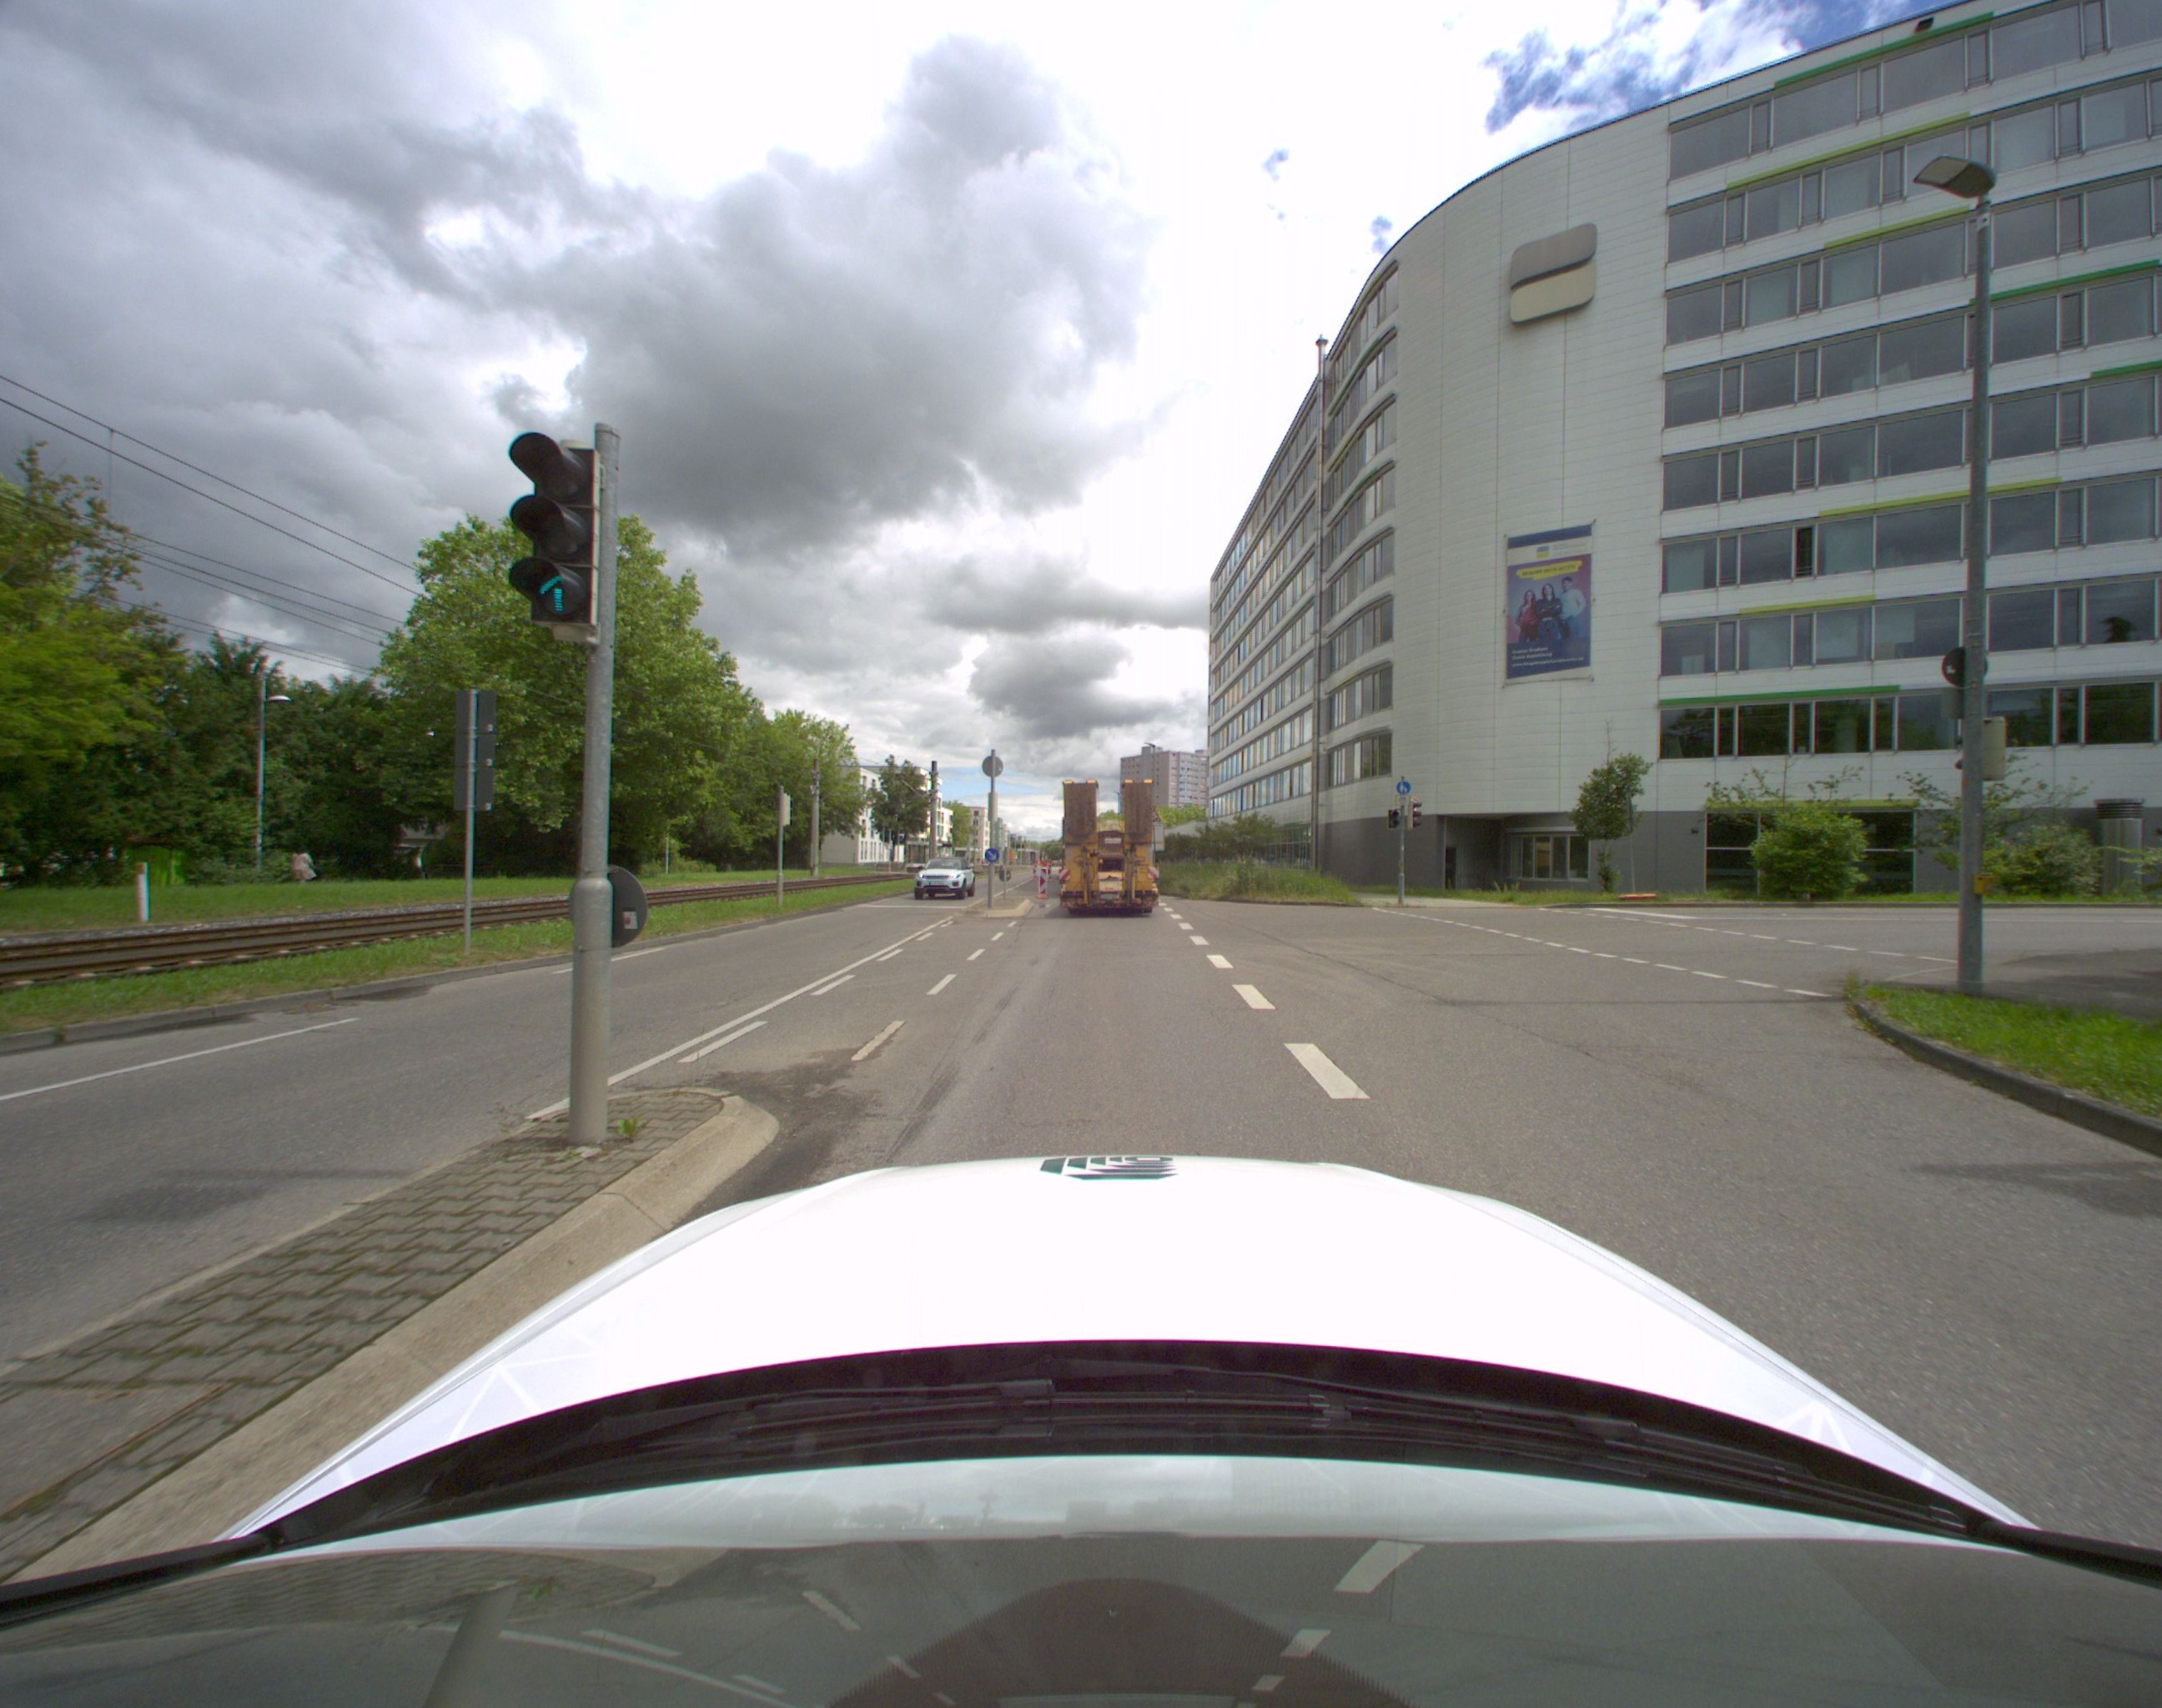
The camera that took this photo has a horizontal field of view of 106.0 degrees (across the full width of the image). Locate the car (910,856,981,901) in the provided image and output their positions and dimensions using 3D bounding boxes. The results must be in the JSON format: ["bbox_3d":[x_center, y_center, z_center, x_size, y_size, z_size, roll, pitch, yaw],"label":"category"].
[{"bbox_3d":[-5.265,0.932,32.269,1.853,1.610,4.609,1,-1,2],"label":"car"}]

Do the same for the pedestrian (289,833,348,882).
[{"bbox_3d":[-30.931,0.142,33.068,1.030,1.934,1.363,1,-1,1],"label":"pedestrian"}]

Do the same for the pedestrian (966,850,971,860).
[{"bbox_3d":[-18.942,0.148,137.093,0.482,1.597,0.682,0,-1,34],"label":"pedestrian"}]

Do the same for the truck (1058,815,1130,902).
[{"bbox_3d":[0.498,0.242,35.848,2.744,3.313,8.349,1,-1,0],"label":"truck"}]

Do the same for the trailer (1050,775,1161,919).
[{"bbox_3d":[0.583,-0.098,26.021,2.721,3.559,11.249,1,-1,0],"label":"trailer"}]
